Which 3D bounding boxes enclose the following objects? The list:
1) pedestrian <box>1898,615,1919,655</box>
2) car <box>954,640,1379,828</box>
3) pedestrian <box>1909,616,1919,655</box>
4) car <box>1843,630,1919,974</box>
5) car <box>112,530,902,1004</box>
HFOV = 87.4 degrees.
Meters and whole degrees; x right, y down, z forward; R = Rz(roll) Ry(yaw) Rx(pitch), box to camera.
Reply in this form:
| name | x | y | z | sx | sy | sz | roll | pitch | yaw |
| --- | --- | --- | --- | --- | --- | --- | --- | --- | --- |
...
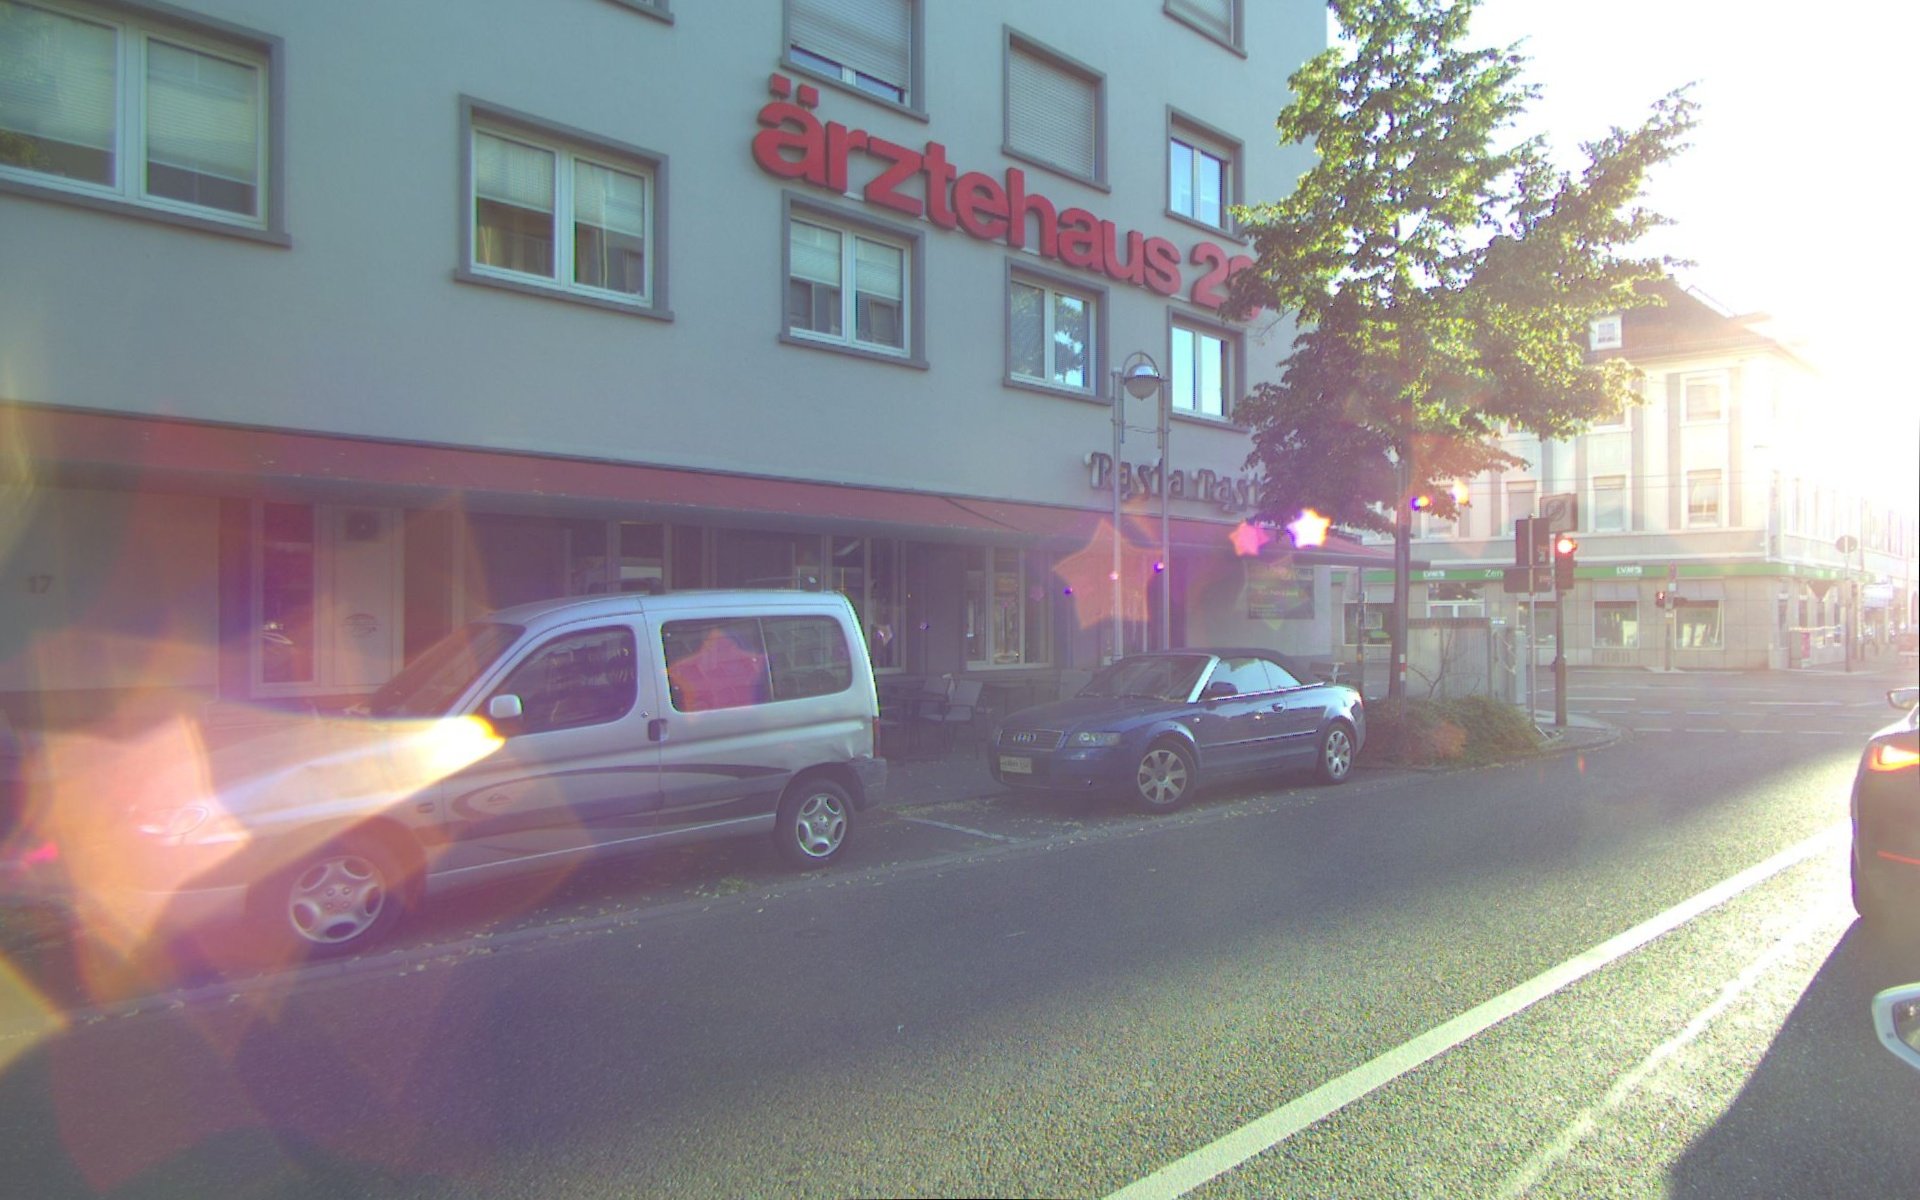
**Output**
| name | x | y | z | sx | sy | sz | roll | pitch | yaw |
| --- | --- | --- | --- | --- | --- | --- | --- | --- | --- |
| pedestrian | 46.437 | 1.709 | 49.197 | 0.626 | 1.901 | 0.638 | 1 | 0 | -38 |
| car | 2.127 | 1.121 | 9.698 | 4.244 | 1.434 | 1.710 | 2 | -4 | -39 |
| pedestrian | 47.292 | 1.729 | 49.531 | 0.673 | 1.901 | 0.610 | 1 | 0 | -42 |
| car | 6.069 | 0.895 | 5.110 | 4.188 | 1.447 | 1.723 | 1 | -1 | -39 |
| car | -2.440 | 0.759 | 6.036 | 4.022 | 1.912 | 1.655 | 2 | -4 | -41 |
